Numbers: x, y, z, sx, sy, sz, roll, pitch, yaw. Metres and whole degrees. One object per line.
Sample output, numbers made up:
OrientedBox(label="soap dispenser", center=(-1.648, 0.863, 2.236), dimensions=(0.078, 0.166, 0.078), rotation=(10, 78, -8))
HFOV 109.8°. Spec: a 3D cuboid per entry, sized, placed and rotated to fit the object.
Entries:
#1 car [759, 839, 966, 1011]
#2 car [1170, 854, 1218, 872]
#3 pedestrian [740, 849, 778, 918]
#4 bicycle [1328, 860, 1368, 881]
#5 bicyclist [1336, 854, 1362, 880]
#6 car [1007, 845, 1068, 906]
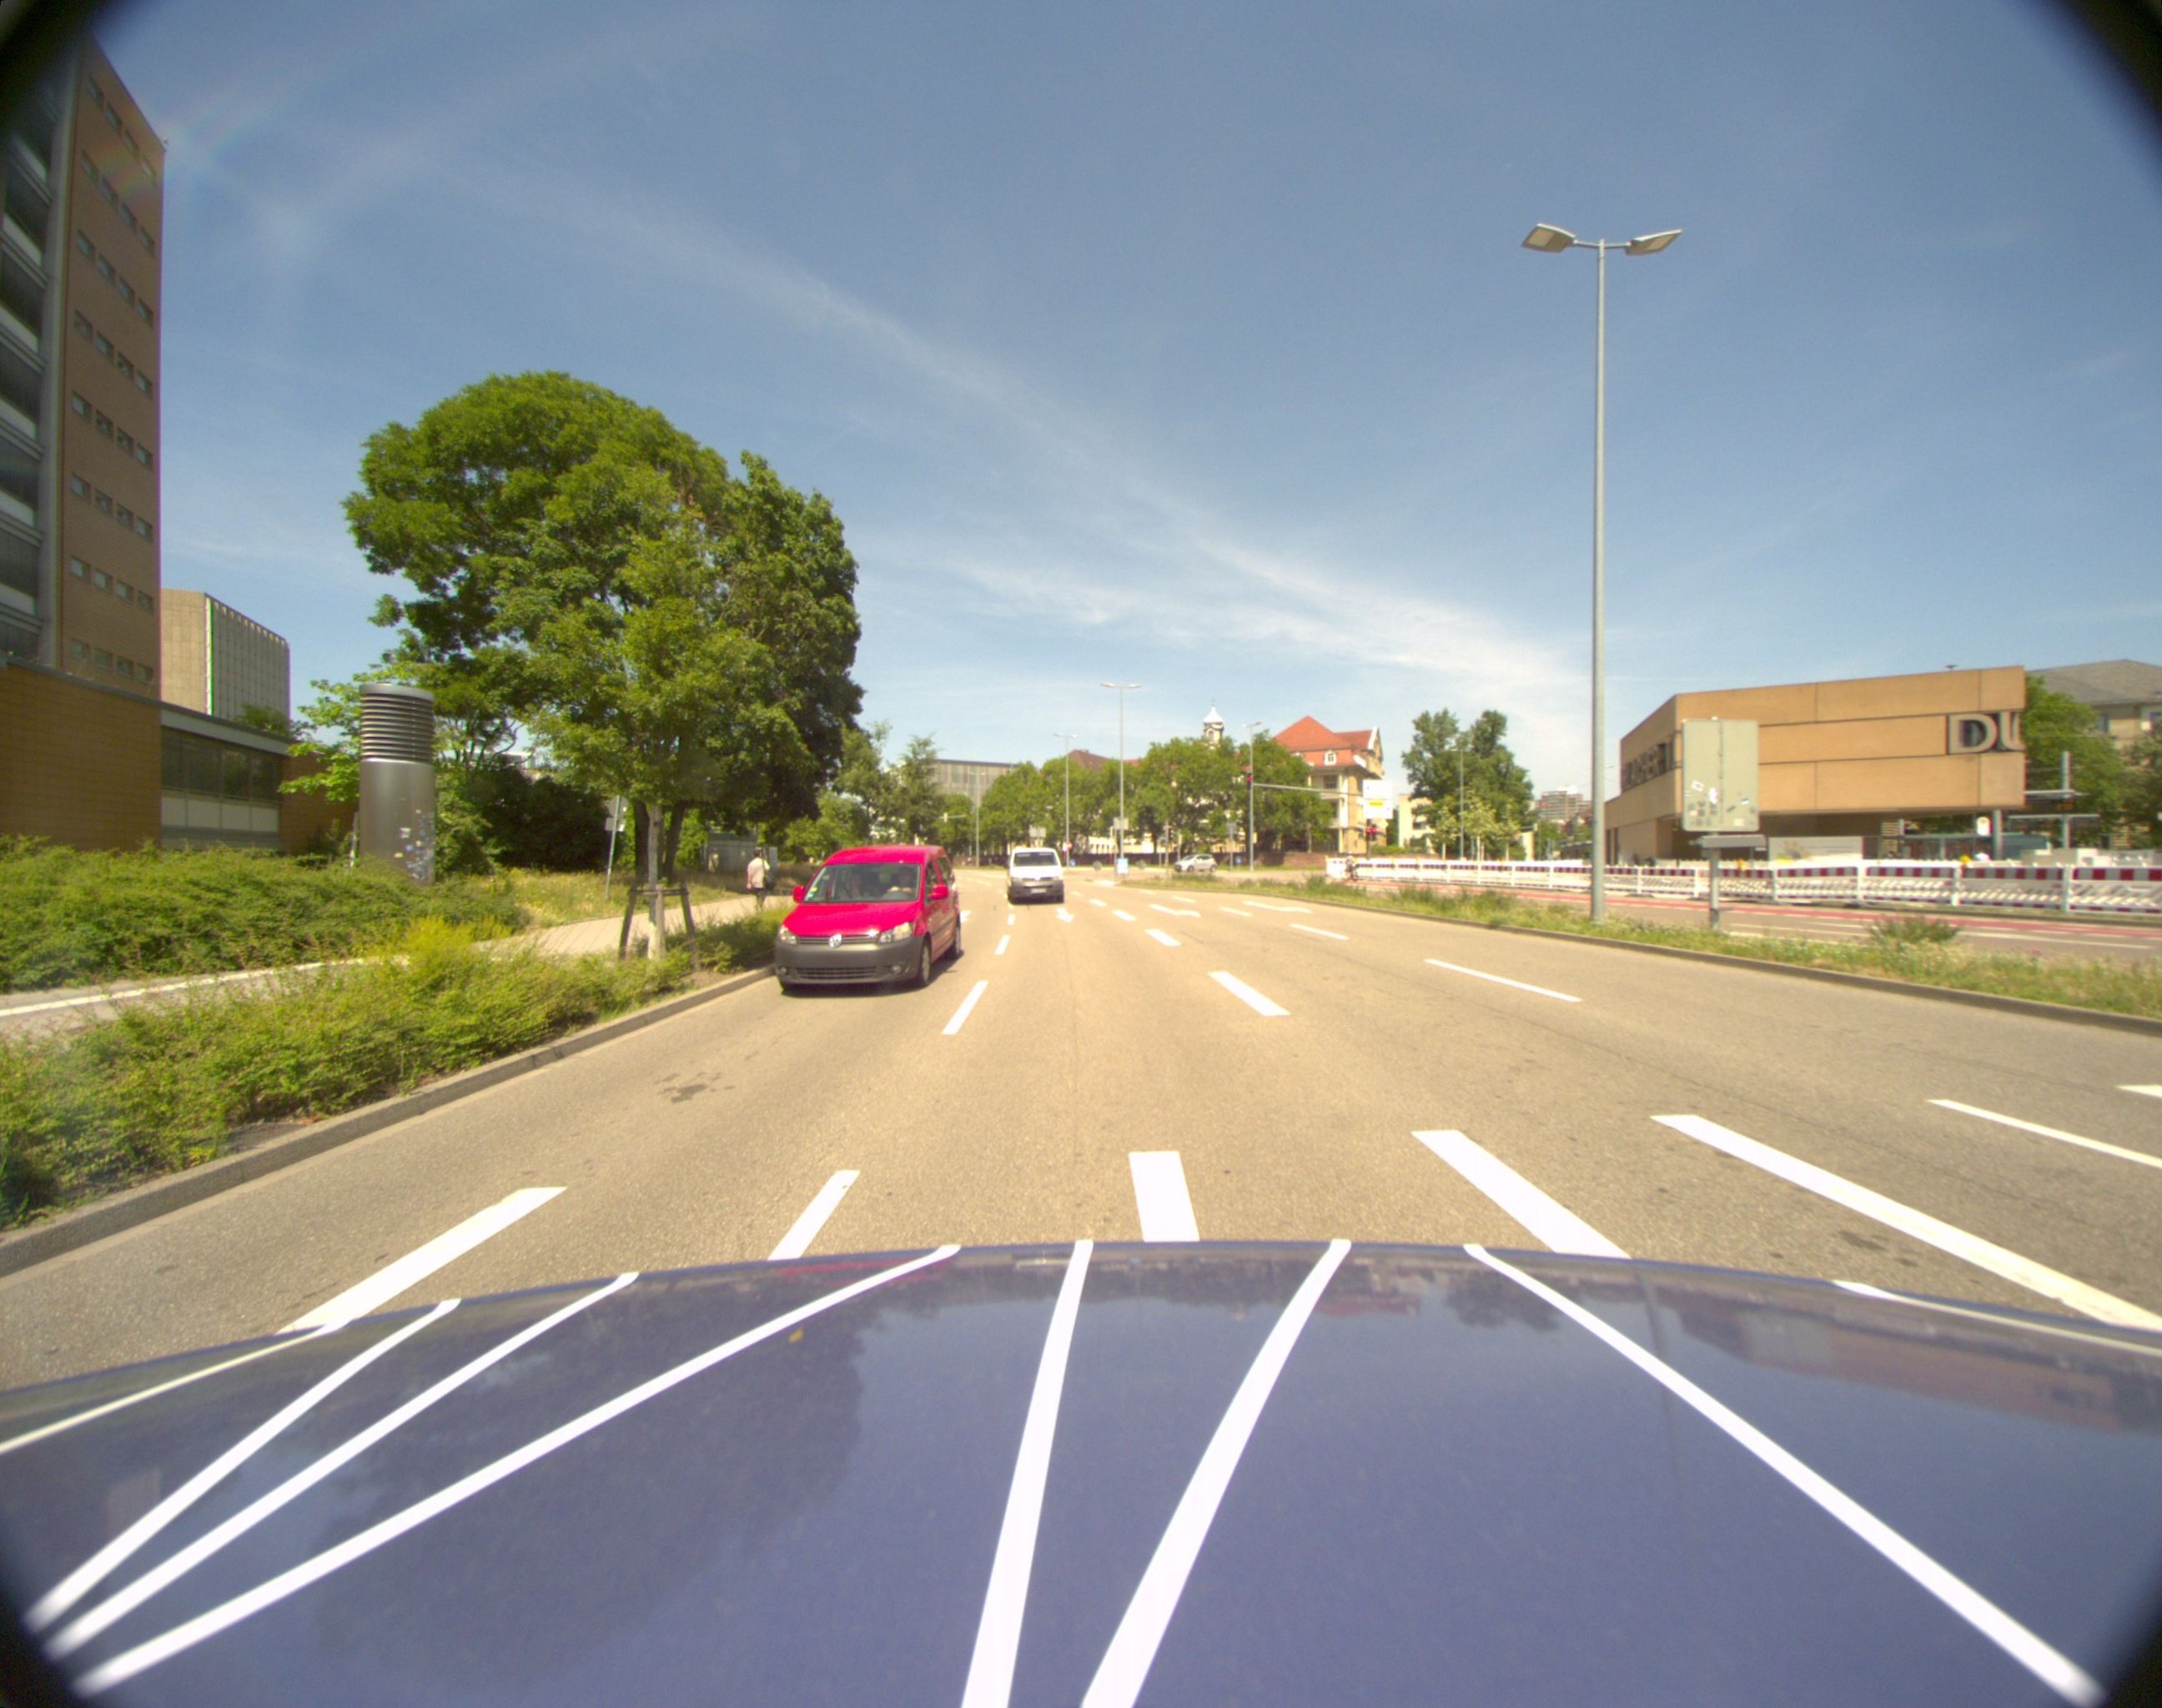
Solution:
OrientedBox(label="car", center=(-2.733, 0.781, 10.598), dimensions=(1.655, 1.848, 4.545), rotation=(-1, 0, -2))
OrientedBox(label="car", center=(9.489, 0.733, 63.610), dimensions=(3.645, 1.455, 1.787), rotation=(0, 0, -30))
OrientedBox(label="pedestrian", center=(-8.499, 0.777, 20.091), dimensions=(0.728, 1.787, 0.614), rotation=(0, 0, 1))
OrientedBox(label="bicycle", center=(14.218, 0.857, 40.512), dimensions=(0.879, 1.066, 2.229), rotation=(-2, 1, -14))
OrientedBox(label="bicyclist", center=(14.315, 0.703, 40.652), dimensions=(0.587, 1.348, 1.438), rotation=(-3, 1, -14))
OrientedBox(label="car", center=(-1.649, 0.712, 27.634), dimensions=(1.972, 1.958, 4.846), rotation=(-2, 0, -5))
